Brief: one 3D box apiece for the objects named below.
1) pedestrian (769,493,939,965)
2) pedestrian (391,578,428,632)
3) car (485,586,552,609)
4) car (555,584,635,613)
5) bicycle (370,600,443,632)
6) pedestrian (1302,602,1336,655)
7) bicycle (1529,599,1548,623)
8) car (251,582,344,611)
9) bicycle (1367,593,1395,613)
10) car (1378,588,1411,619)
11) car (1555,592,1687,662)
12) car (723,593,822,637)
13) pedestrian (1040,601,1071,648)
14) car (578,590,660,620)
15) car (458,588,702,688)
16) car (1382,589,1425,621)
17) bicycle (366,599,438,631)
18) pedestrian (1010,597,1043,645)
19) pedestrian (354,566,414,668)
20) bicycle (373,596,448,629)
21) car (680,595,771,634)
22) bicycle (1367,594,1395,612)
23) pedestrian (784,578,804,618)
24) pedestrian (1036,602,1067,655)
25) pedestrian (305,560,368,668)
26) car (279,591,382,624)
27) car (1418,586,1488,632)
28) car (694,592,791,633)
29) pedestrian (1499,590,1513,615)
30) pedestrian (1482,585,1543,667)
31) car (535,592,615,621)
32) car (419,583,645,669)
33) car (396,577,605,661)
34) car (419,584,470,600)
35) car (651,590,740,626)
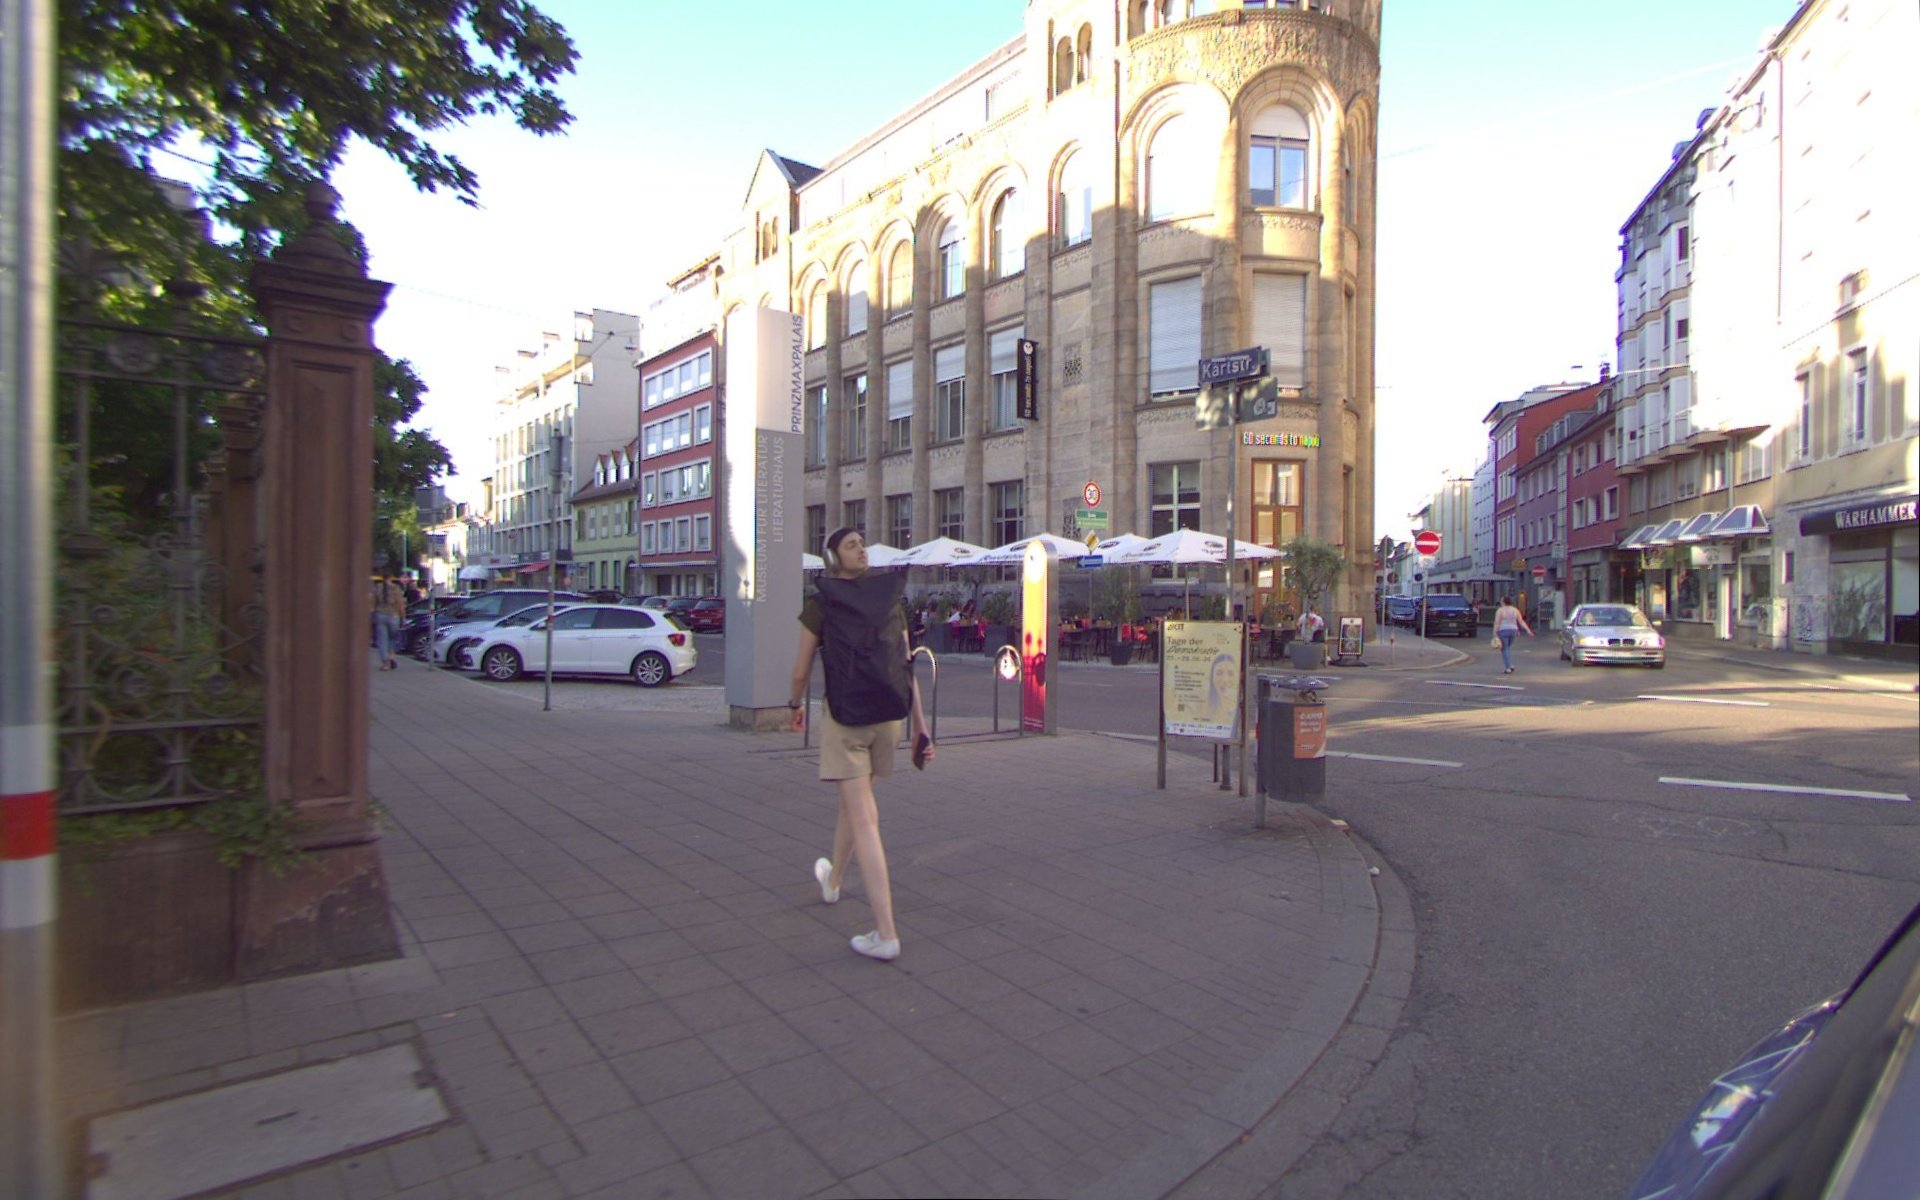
[{"bbox_3d":[-0.422,0.473,4.182,0.625,1.745,0.846,0,0,-4],"label":"pedestrian"},{"bbox_3d":[-18.380,0.161,33.784,0.955,1.772,1.002,0,0,-36],"label":"pedestrian"},{"bbox_3d":[-28.356,-0.163,65.098,1.732,1.430,4.053,0,1,19],"label":"car"},{"bbox_3d":[-18.776,-0.121,52.247,1.732,1.430,4.175,0,1,19],"label":"car"},{"bbox_3d":[-20.363,0.556,37.252,2.263,1.104,0.715,-1,1,-42],"label":"bicycle"},{"bbox_3d":[8.356,0.655,23.573,0.603,1.204,0.813,0,0,31],"label":"pedestrian"},{"bbox_3d":[29.394,0.558,51.440,0.538,1.207,1.830,0,0,20],"label":"bicycle"},{"bbox_3d":[-34.409,-0.179,52.624,3.927,1.430,1.754,-1,1,-38],"label":"car"},{"bbox_3d":[32.173,0.223,77.297,1.853,1.319,0.592,4,1,21],"label":"bicycle"},{"bbox_3d":[26.454,0.200,61.690,1.655,1.829,4.210,-1,0,21],"label":"car"},{"bbox_3d":[15.054,0.548,23.282,1.980,1.440,4.418,0,0,26],"label":"car"},{"bbox_3d":[-6.563,0.492,35.927,1.732,1.430,4.045,0,1,19],"label":"car"},{"bbox_3d":[2.495,0.628,26.500,0.589,1.204,0.573,0,0,-35],"label":"pedestrian"},{"bbox_3d":[-16.852,0.221,50.234,1.732,1.430,4.083,0,1,19],"label":"car"},{"bbox_3d":[-6.800,0.668,18.484,3.830,1.465,1.758,4,0,-10],"label":"car"},{"bbox_3d":[24.670,0.259,56.387,1.755,1.687,3.978,0,1,17],"label":"car"},{"bbox_3d":[-21.020,0.549,38.160,2.263,1.104,0.715,-1,1,-42],"label":"bicycle"},{"bbox_3d":[1.795,0.554,27.342,0.589,1.261,0.686,0,0,-35],"label":"pedestrian"},{"bbox_3d":[-9.749,0.282,17.129,0.702,1.691,0.633,0,-1,38],"label":"pedestrian"},{"bbox_3d":[-19.806,0.439,36.506,2.263,1.104,0.715,-1,1,-42],"label":"bicycle"},{"bbox_3d":[-9.388,0.554,40.885,1.732,1.430,4.045,0,1,19],"label":"car"},{"bbox_3d":[32.403,0.245,77.936,1.853,1.243,0.592,4,1,21],"label":"bicycle"},{"bbox_3d":[-7.298,-0.099,44.517,0.619,1.752,0.596,0,1,-44],"label":"pedestrian"},{"bbox_3d":[2.210,0.678,24.444,0.675,1.261,0.599,0,0,12],"label":"pedestrian"},{"bbox_3d":[-10.076,0.218,16.357,0.702,1.691,0.633,0,-1,38],"label":"pedestrian"},{"bbox_3d":[-29.279,0.305,47.134,3.927,1.430,1.754,-1,1,-38],"label":"car"},{"bbox_3d":[20.267,0.330,41.805,1.974,1.806,4.904,0,0,19],"label":"car"},{"bbox_3d":[-8.119,0.441,38.124,1.732,1.430,4.083,0,1,19],"label":"car"},{"bbox_3d":[32.896,0.144,61.030,0.603,1.491,0.545,0,0,13],"label":"pedestrian"},{"bbox_3d":[11.255,0.515,20.635,0.788,1.633,0.736,0,0,-8],"label":"pedestrian"},{"bbox_3d":[-20.930,0.331,55.141,1.890,1.430,4.175,0,1,19],"label":"car"},{"bbox_3d":[-8.646,0.512,20.746,3.917,1.545,1.758,3,0,-10],"label":"car"},{"bbox_3d":[-10.283,0.407,22.879,3.922,1.742,1.756,1,0,-2],"label":"car"},{"bbox_3d":[-47.462,-0.716,93.177,3.927,1.430,1.754,-1,1,-38],"label":"car"},{"bbox_3d":[-11.230,0.310,43.271,1.732,1.430,4.158,0,1,19],"label":"car"}]
